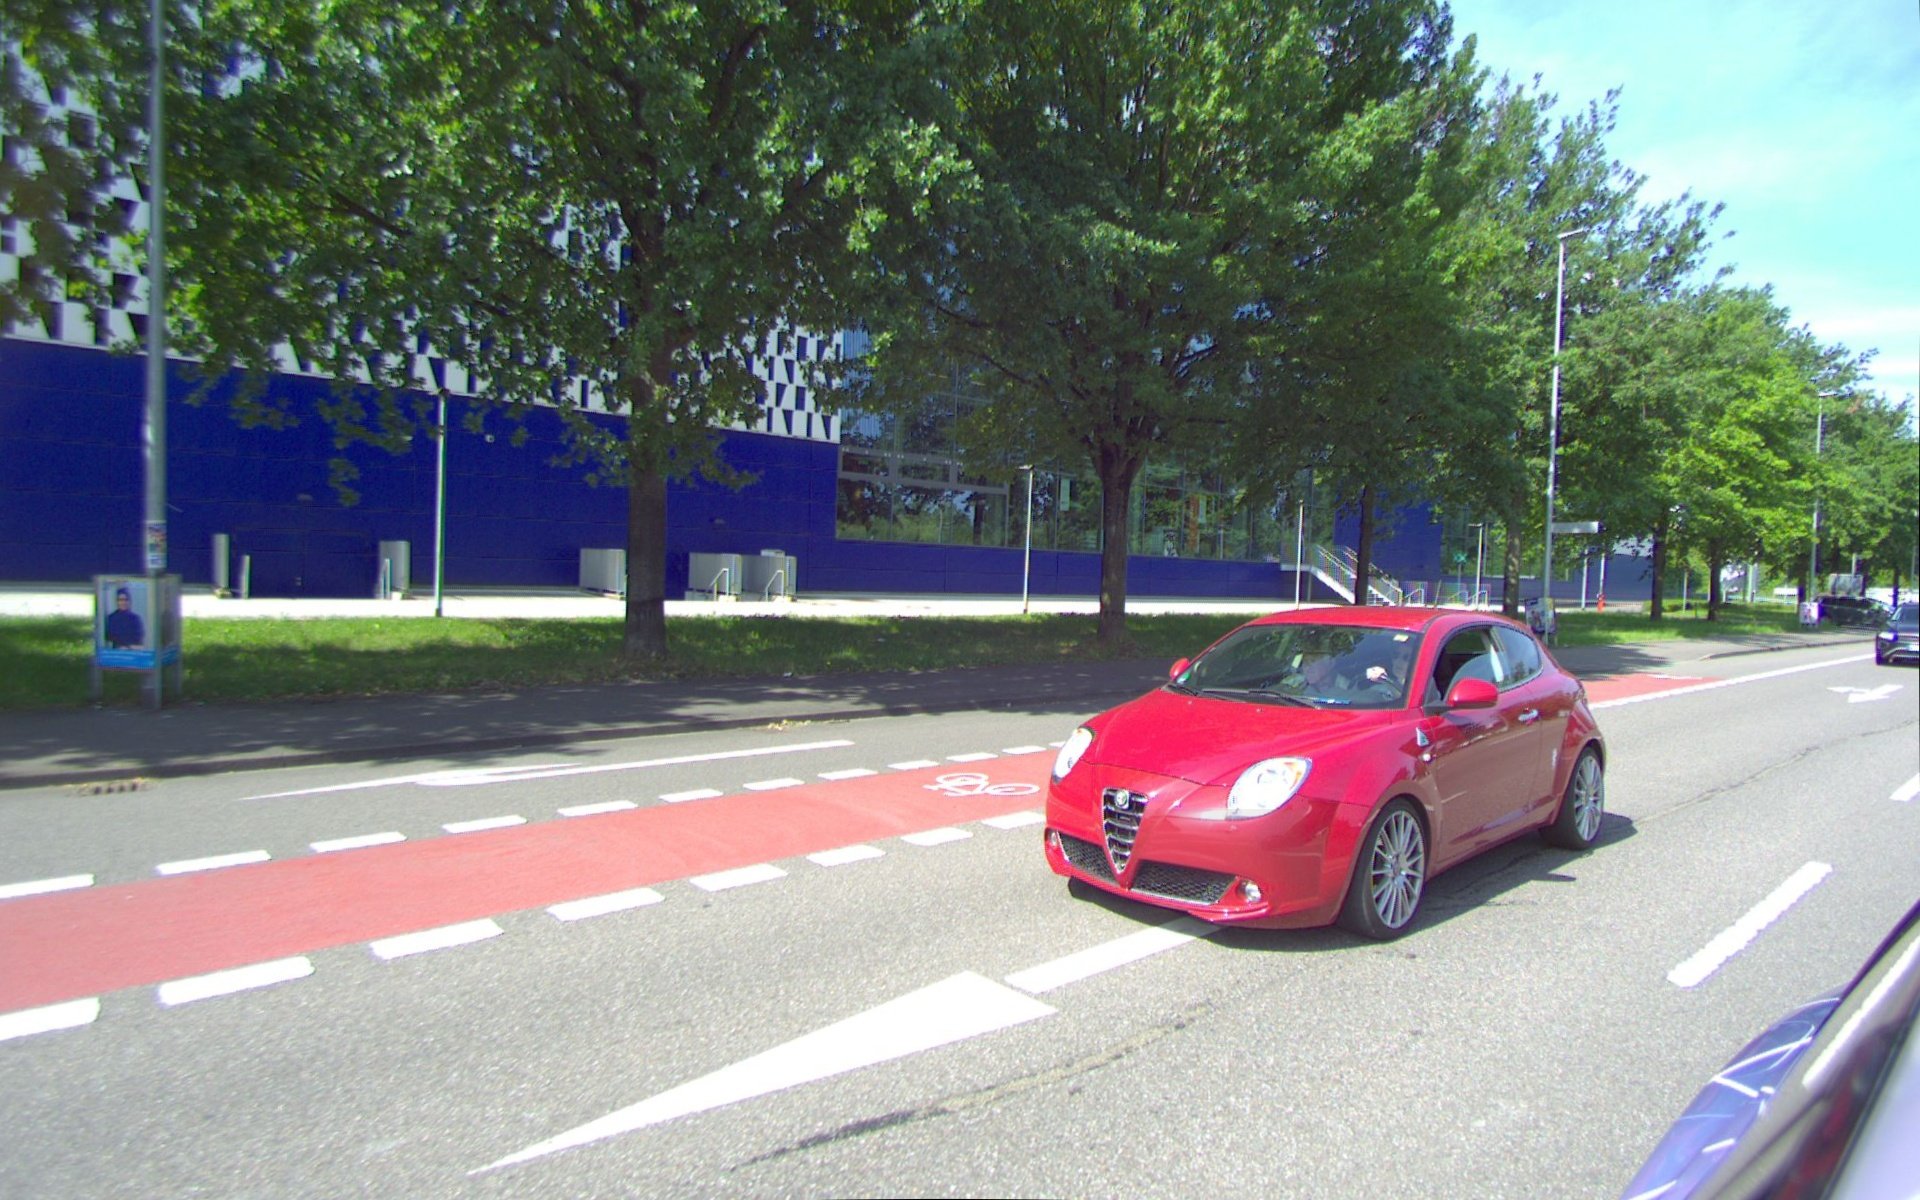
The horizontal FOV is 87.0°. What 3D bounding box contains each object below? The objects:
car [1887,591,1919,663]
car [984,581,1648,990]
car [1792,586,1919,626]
[{"bbox_3d":[23.921,0.642,24.341,4.038,1.662,1.824,0,1,-39],"label":"car"},{"bbox_3d":[2.182,0.651,5.665,3.909,1.472,1.797,-1,2,-41],"label":"car"},{"bbox_3d":[44.945,0.265,50.805,1.808,1.714,4.464,1,3,-33],"label":"car"}]
